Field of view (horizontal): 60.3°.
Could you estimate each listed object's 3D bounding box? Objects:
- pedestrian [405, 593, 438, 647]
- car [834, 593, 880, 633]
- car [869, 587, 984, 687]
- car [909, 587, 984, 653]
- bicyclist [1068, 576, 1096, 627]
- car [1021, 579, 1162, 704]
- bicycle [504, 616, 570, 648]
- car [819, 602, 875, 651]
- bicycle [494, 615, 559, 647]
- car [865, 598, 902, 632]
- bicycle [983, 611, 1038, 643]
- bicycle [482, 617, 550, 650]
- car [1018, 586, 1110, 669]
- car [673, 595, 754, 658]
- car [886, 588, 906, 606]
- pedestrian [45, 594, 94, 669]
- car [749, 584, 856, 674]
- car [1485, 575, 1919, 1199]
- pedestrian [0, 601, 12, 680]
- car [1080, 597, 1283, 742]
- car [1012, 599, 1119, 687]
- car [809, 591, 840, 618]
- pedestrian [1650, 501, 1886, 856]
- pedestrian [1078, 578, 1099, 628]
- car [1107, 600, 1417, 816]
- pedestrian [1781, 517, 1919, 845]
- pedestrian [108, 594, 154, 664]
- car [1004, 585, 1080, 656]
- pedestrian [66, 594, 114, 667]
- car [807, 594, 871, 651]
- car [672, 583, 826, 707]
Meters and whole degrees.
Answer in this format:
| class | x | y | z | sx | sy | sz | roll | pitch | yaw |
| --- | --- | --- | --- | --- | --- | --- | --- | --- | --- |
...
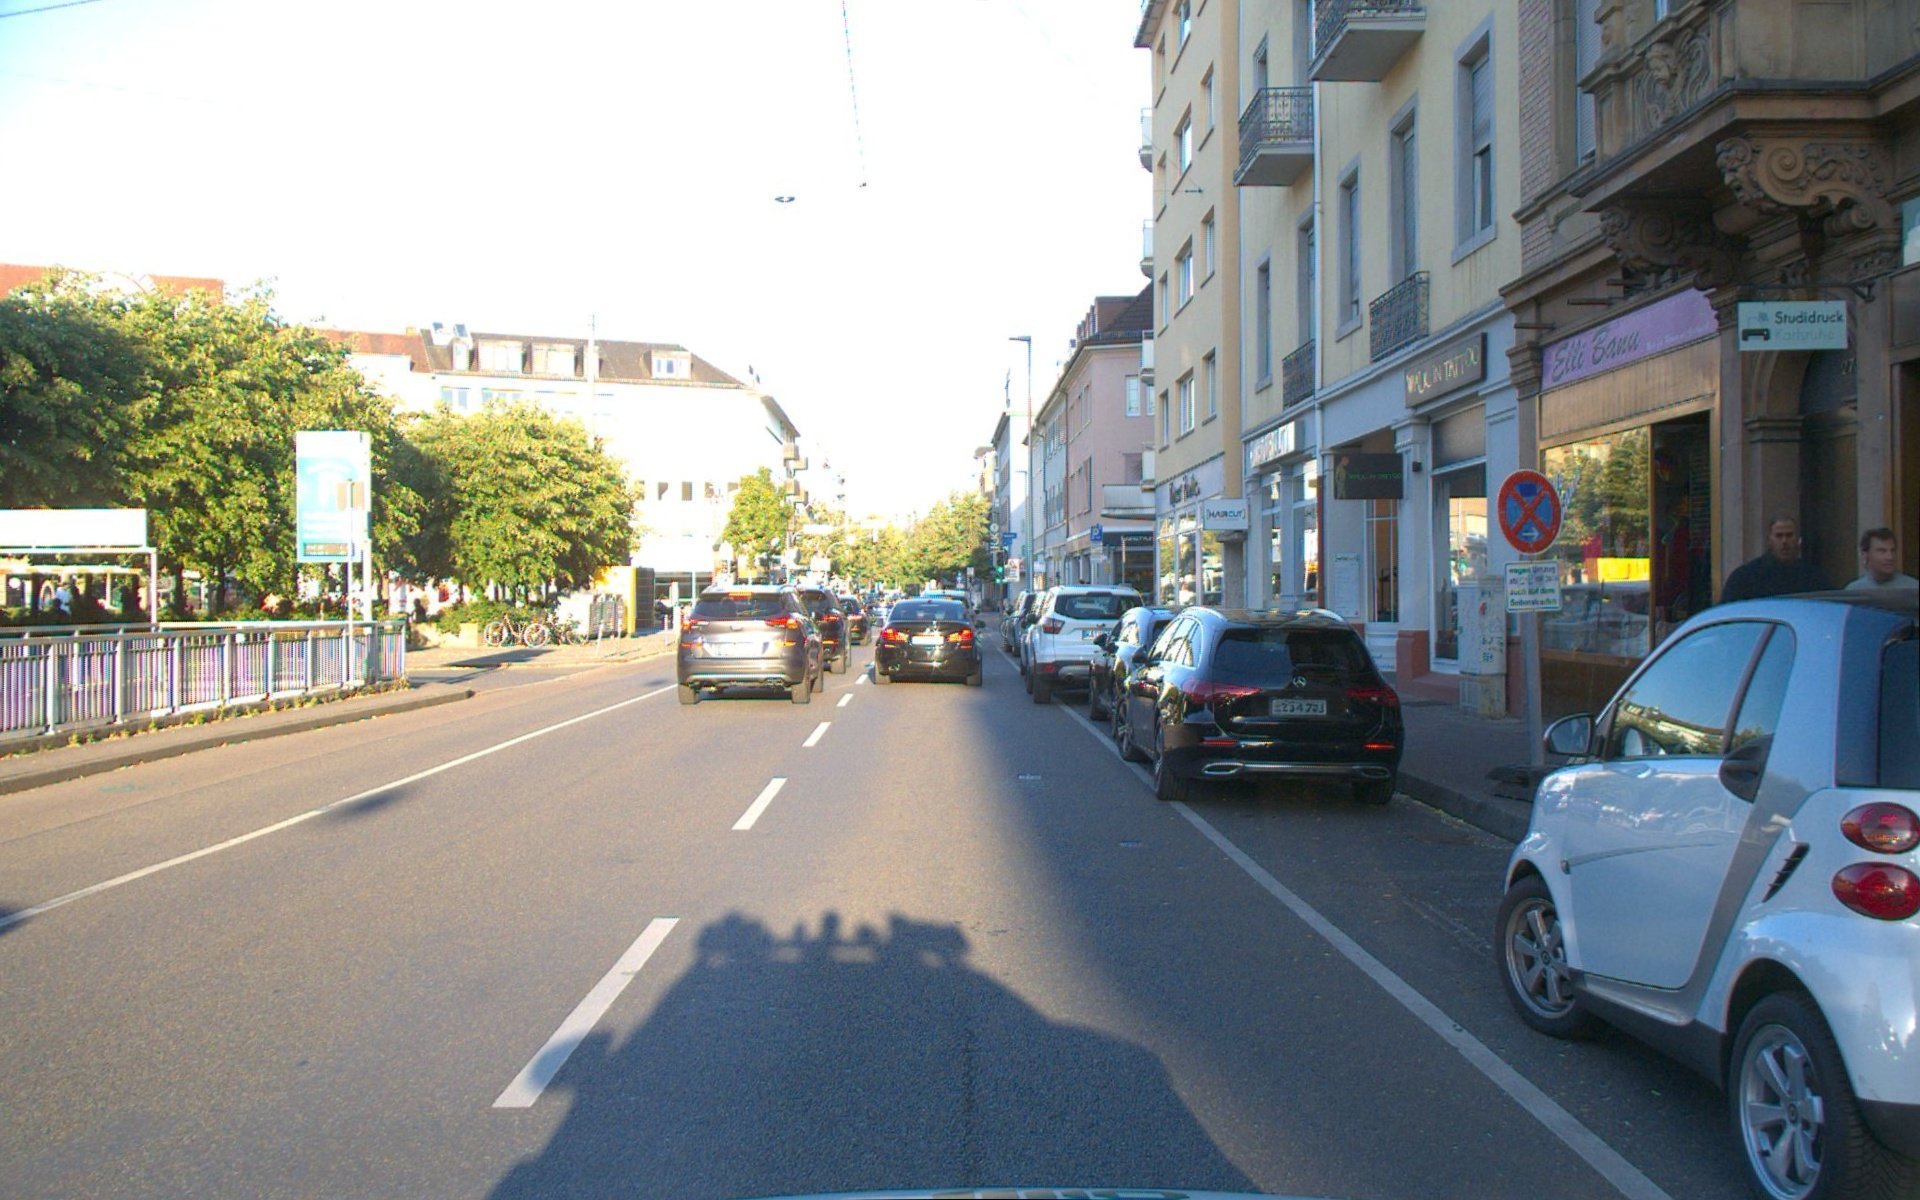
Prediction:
| class | x | y | z | sx | sy | sz | roll | pitch | yaw |
| --- | --- | --- | --- | --- | --- | --- | --- | --- | --- |
| pedestrian | -16.470 | 0.608 | 50.613 | 0.773 | 1.623 | 0.568 | 0 | 0 | 18 |
| car | -4.199 | 0.520 | 67.903 | 1.743 | 1.574 | 3.998 | 0 | 0 | -2 |
| car | -0.612 | 0.603 | 29.188 | 1.858 | 1.609 | 3.999 | 1 | 0 | -2 |
| car | -0.400 | 0.504 | 43.356 | 1.858 | 1.609 | 3.999 | 1 | 0 | -2 |
| bicyclist | 4.359 | 0.062 | 59.171 | 0.814 | 1.808 | 0.608 | 0 | 0 | 26 |
| car | 1.888 | 0.585 | 24.952 | 1.694 | 1.679 | 4.283 | 1 | 0 | -1 |
| bicycle | -12.522 | 0.951 | 49.010 | 1.790 | 0.868 | 0.483 | 2 | 0 | -5 |
| car | -3.815 | 0.886 | 56.297 | 1.743 | 1.574 | 3.998 | 0 | 0 | -2 |
| bicycle | -13.074 | 0.928 | 49.907 | 1.790 | 0.868 | 0.483 | 2 | 0 | -5 |
| car | -3.672 | 0.720 | 79.913 | 1.743 | 1.574 | 3.998 | 0 | 0 | -2 |
| bicycle | 1.608 | 0.849 | 52.311 | 1.729 | 0.984 | 0.490 | 0 | 0 | 4 |
| bicycle | -12.678 | 0.950 | 47.249 | 1.790 | 0.868 | 0.483 | 2 | 0 | -5 |
| car | 2.221 | 0.592 | 36.228 | 1.694 | 1.681 | 3.828 | 1 | 0 | -1 |
| car | -6.756 | 0.687 | 45.652 | 1.658 | 1.579 | 3.950 | -3 | 0 | -2 |
| car | -5.697 | -0.298 | 147.423 | 1.743 | 1.574 | 3.998 | 0 | 0 | -2 |
| pedestrian | -19.434 | 0.679 | 36.113 | 0.773 | 1.623 | 0.568 | 0 | 0 | 18 |
| car | -3.080 | 0.544 | 33.031 | 1.858 | 1.678 | 4.103 | 0 | 0 | -2 |
| car | 2.780 | 0.744 | 4.753 | 1.500 | 1.563 | 3.283 | 1 | 0 | 0 |
| pedestrian | -20.074 | 0.840 | 34.065 | 0.663 | 1.623 | 0.677 | 0 | 0 | 18 |
| car | 2.469 | 0.736 | 19.425 | 1.694 | 1.473 | 4.473 | 1 | 0 | -1 |
| car | 1.890 | 0.755 | 30.712 | 1.694 | 1.476 | 4.312 | 1 | 0 | 0 |
| car | -8.423 | 0.281 | 103.314 | 1.658 | 1.579 | 3.950 | -3 | 0 | -2 |
| pedestrian | 4.511 | 0.414 | 9.303 | 0.757 | 1.859 | 1.010 | -2 | 0 | -2 |
| pedestrian | 4.754 | 0.121 | 61.110 | 0.686 | 1.843 | 0.634 | 0 | 0 | -5 |
| car | 2.325 | 0.772 | 13.875 | 1.694 | 1.473 | 4.523 | 1 | 0 | -1 |
| pedestrian | 5.302 | 0.415 | 9.323 | 0.757 | 1.741 | 1.041 | -2 | 0 | -2 |
| pedestrian | -19.279 | 0.665 | 38.475 | 0.773 | 1.623 | 0.568 | 0 | 0 | 18 |
| car | 2.058 | 0.513 | 42.446 | 1.694 | 1.681 | 3.969 | 1 | 0 | -1 |
| pedestrian | -19.523 | 0.673 | 37.124 | 0.773 | 1.623 | 0.568 | 0 | 0 | 18 |
| car | -3.541 | 0.630 | 48.839 | 1.743 | 1.574 | 3.998 | 0 | 0 | -2 |
| car | -3.024 | 0.602 | 24.453 | 1.858 | 1.678 | 4.103 | 0 | 0 | -2 |
